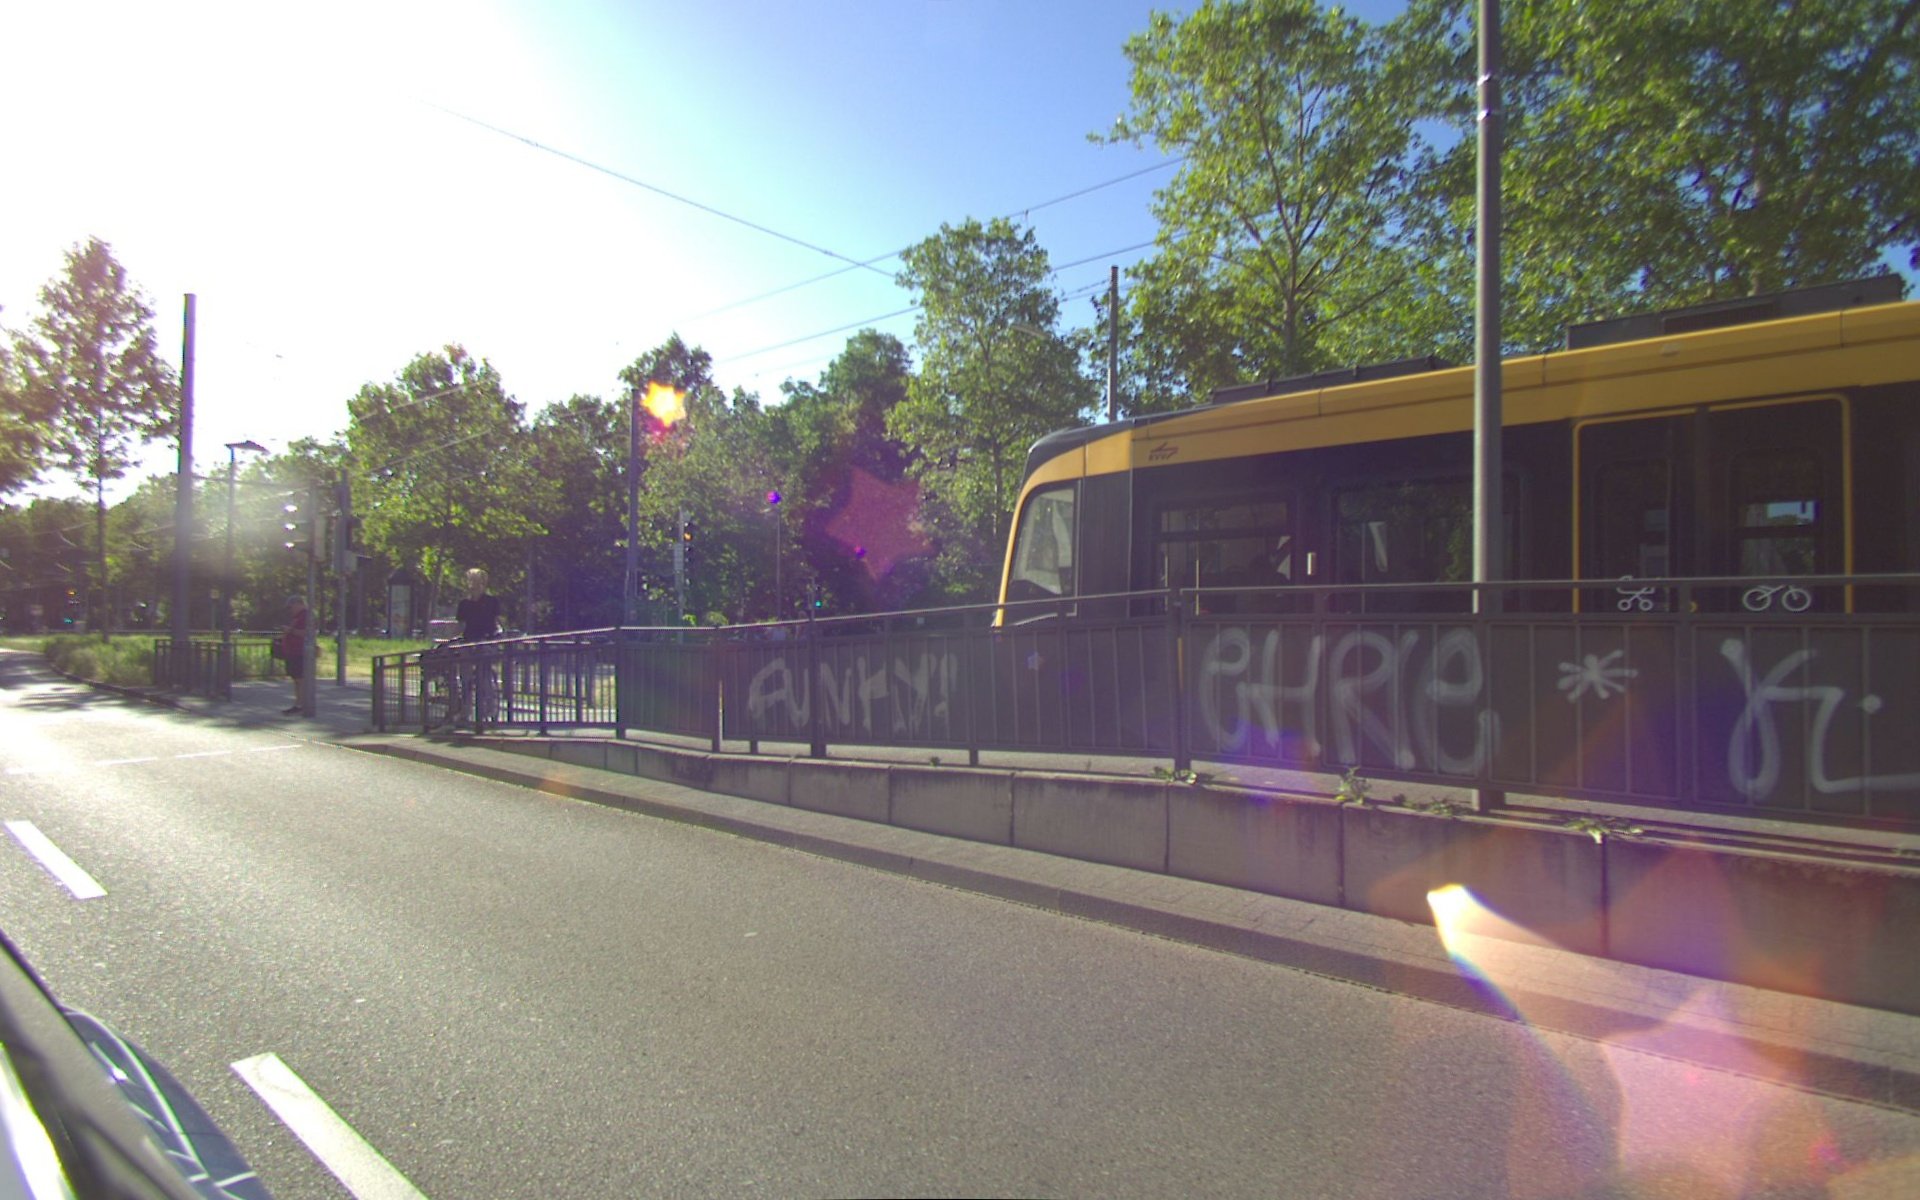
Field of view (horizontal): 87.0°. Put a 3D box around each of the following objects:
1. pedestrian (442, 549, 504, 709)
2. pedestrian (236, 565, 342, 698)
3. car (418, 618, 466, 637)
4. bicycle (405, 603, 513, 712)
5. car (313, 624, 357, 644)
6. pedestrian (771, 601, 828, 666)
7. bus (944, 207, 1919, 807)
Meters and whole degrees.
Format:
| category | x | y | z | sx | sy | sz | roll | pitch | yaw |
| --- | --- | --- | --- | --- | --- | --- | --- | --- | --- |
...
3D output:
| category | x | y | z | sx | sy | sz | roll | pitch | yaw |
| --- | --- | --- | --- | --- | --- | --- | --- | --- | --- |
| pedestrian | -5.989 | 0.351 | 12.451 | 0.583 | 1.917 | 0.447 | -1 | -2 | 34 |
| pedestrian | -10.252 | 0.469 | 15.467 | 1.126 | 1.930 | 1.061 | -1 | -2 | 39 |
| car | -36.566 | 1.946 | 71.430 | 3.779 | 1.322 | 1.750 | -2 | -1 | 41 |
| bicycle | -5.943 | 0.660 | 11.972 | 1.825 | 1.223 | 0.325 | -1 | -2 | 36 |
| car | -53.526 | 2.929 | 86.666 | 3.995 | 1.634 | 1.974 | -2 | -1 | 39 |
| pedestrian | -4.156 | 0.861 | 26.198 | 0.890 | 1.656 | 1.167 | 0 | -2 | 34 |
| bus | 5.682 | -0.506 | 7.643 | 13.212 | 3.470 | 2.838 | -1 | -2 | 42 |
